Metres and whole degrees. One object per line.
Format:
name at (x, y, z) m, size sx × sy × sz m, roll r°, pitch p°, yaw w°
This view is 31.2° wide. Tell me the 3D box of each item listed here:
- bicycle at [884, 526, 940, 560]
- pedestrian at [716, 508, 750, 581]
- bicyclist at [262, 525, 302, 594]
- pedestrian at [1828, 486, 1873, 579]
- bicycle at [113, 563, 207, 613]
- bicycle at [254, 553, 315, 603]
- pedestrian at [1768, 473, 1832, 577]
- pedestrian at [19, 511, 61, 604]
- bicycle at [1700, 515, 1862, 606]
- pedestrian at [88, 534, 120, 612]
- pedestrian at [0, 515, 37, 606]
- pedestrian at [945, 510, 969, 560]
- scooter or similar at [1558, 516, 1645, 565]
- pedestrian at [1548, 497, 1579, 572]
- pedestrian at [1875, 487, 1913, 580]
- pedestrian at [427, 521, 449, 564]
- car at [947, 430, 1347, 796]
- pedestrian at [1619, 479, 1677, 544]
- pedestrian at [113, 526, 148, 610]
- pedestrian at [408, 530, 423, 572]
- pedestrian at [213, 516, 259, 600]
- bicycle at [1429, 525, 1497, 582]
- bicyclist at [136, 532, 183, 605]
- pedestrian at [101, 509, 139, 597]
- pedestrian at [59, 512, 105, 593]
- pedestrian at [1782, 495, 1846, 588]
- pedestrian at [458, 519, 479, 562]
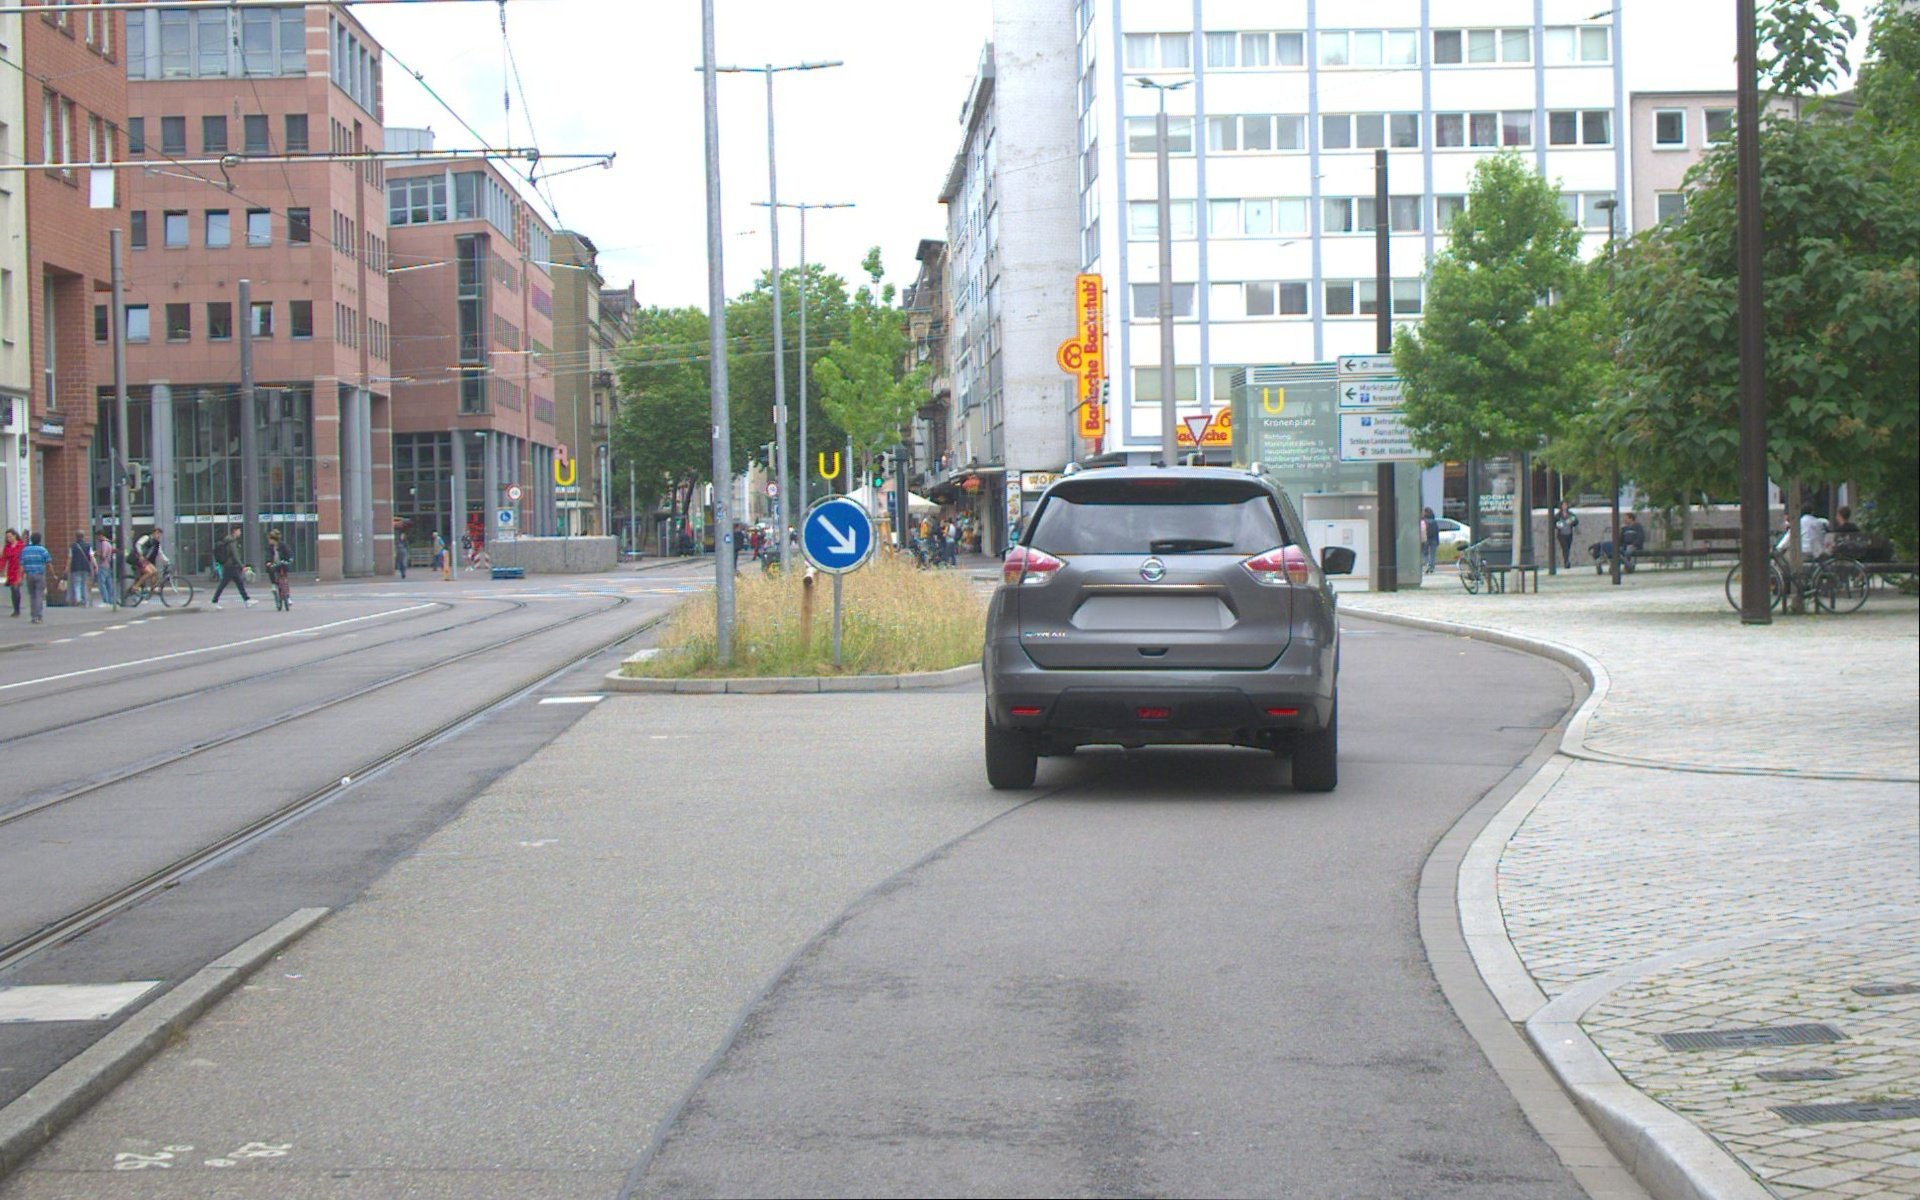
bicycle at (-1.680, -1.999, 120.574) m, size 1.867 × 1.168 × 0.531 m, roll -1°, pitch 1°, yaw -16°
pedestrian at (-5.255, -1.274, 79.471) m, size 0.743 × 1.678 × 0.799 m, roll 0°, pitch 0°, yaw -6°
bicyclist at (-14.101, -0.841, 71.500) m, size 0.479 × 1.402 × 0.812 m, roll -2°, pitch 1°, yaw -35°
pedestrian at (13.196, -0.999, 50.943) m, size 0.628 × 1.361 × 0.918 m, roll 0°, pitch 1°, yaw 15°
bicycle at (-17.242, -0.256, 74.109) m, size 1.906 × 1.017 × 0.477 m, roll -2°, pitch 1°, yaw 8°
bicycle at (-14.036, -0.453, 71.426) m, size 0.479 × 1.017 × 1.912 m, roll -2°, pitch 1°, yaw -35°
pedestrian at (14.950, -1.323, 61.222) m, size 0.713 × 1.796 × 1.078 m, roll -4°, pitch 1°, yaw -3°
pedestrian at (-16.937, -0.785, 63.286) m, size 0.660 × 1.681 × 0.723 m, roll -2°, pitch 0°, yaw -11°
bicycle at (10.213, -0.489, 42.806) m, size 1.914 × 1.119 × 0.645 m, roll 0°, pitch 1°, yaw 9°
pedestrian at (-18.680, -0.584, 75.021) m, size 0.569 × 1.678 × 0.799 m, roll 0°, pitch 0°, yaw -6°
pedestrian at (-17.827, -0.739, 64.837) m, size 0.720 × 1.681 × 0.662 m, roll -2°, pitch 0°, yaw -12°
pedestrian at (-0.111, -2.262, 119.965) m, size 0.732 × 1.740 × 0.663 m, roll 0°, pitch 1°, yaw -10°
scooter or similar at (13.501, -1.251, 72.360) m, size 1.590 × 0.945 × 0.723 m, roll -2°, pitch 1°, yaw 36°
pedestrian at (14.177, -1.541, 80.795) m, size 0.671 × 1.755 × 0.641 m, roll 0°, pitch 1°, yaw 13°
pedestrian at (13.944, -0.996, 51.320) m, size 0.543 × 1.361 × 1.279 m, roll 0°, pitch 1°, yaw 15°
pedestrian at (-22.332, -2.454, 146.977) m, size 0.732 × 1.835 × 0.702 m, roll -1°, pitch 1°, yaw -27°
car at (1.164, 0.018, 19.152) m, size 1.864 × 1.768 × 4.566 m, roll 1°, pitch 1°, yaw 7°
pedestrian at (14.395, -1.848, 71.977) m, size 1.044 × 1.292 × 0.733 m, roll -3°, pitch 1°, yaw 3°
pedestrian at (-18.819, -0.719, 77.993) m, size 0.610 × 1.883 × 0.799 m, roll -1°, pitch 0°, yaw -4°
pedestrian at (-20.098, -1.800, 126.824) m, size 0.449 × 1.527 × 0.522 m, roll -1°, pitch 1°, yaw -20°
pedestrian at (-16.304, -0.940, 77.448) m, size 0.896 × 1.883 × 0.799 m, roll 0°, pitch 0°, yaw -4°
bicycle at (8.955, -0.838, 61.207) m, size 0.659 × 0.975 × 1.752 m, roll -1°, pitch 1°, yaw 27°
bicyclist at (-17.244, -0.684, 74.075) m, size 0.809 × 1.535 × 0.492 m, roll -2°, pitch 1°, yaw 8°
pedestrian at (-16.430, -0.911, 67.225) m, size 0.660 × 1.681 × 0.723 m, roll -2°, pitch 0°, yaw -14°
pedestrian at (-18.486, -1.001, 72.389) m, size 0.868 × 1.681 × 0.662 m, roll -2°, pitch 0°, yaw -17°
pedestrian at (12.542, -0.857, 50.473) m, size 0.628 × 1.361 × 0.688 m, roll -1°, pitch 1°, yaw -21°
pedestrian at (-21.180, -2.551, 148.162) m, size 0.700 × 1.835 × 0.734 m, roll 0°, pitch 1°, yaw 11°
